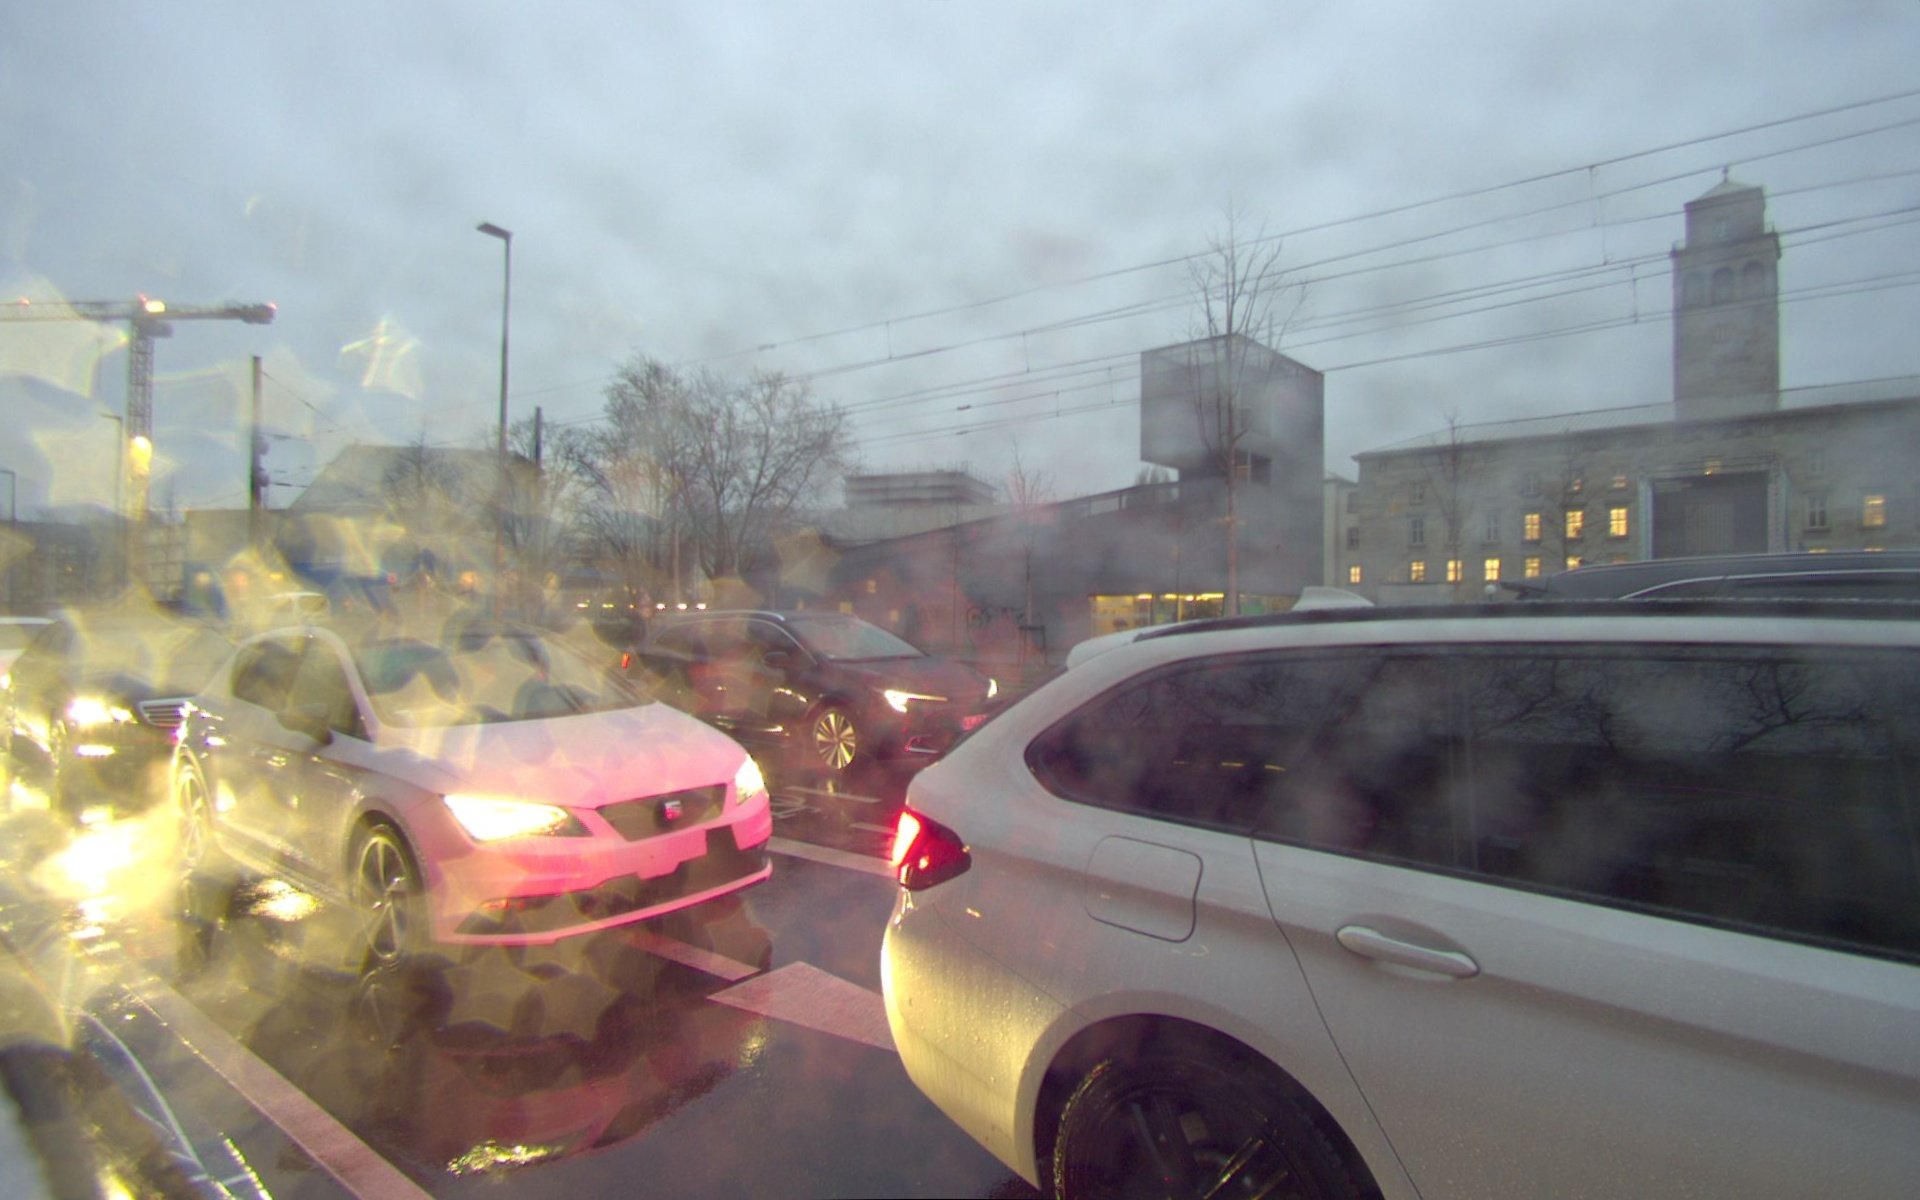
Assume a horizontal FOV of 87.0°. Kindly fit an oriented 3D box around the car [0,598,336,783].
[{"bbox_3d":[-8.377,0.785,10.420,4.501,1.498,1.974,-1,-2,39],"label":"car"}]

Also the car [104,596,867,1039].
[{"bbox_3d":[-2.835,0.769,5.583,4.497,1.498,1.926,-1,0,37],"label":"car"}]

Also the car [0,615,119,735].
[{"bbox_3d":[-14.234,1.035,15.182,3.998,1.586,1.882,-1,0,41],"label":"car"}]

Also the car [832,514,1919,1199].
[{"bbox_3d":[2.072,0.664,1.637,4.557,1.498,1.996,-1,-2,41],"label":"car"}]

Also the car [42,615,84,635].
[{"bbox_3d":[-87.123,2.407,98.281,3.989,1.910,2.072,-1,-2,34],"label":"car"}]

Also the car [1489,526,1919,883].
[{"bbox_3d":[5.225,0.473,5.001,4.289,1.596,1.946,-1,-1,42],"label":"car"}]

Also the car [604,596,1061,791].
[{"bbox_3d":[-1.440,0.750,10.078,4.659,1.519,1.830,0,-1,39],"label":"car"}]
